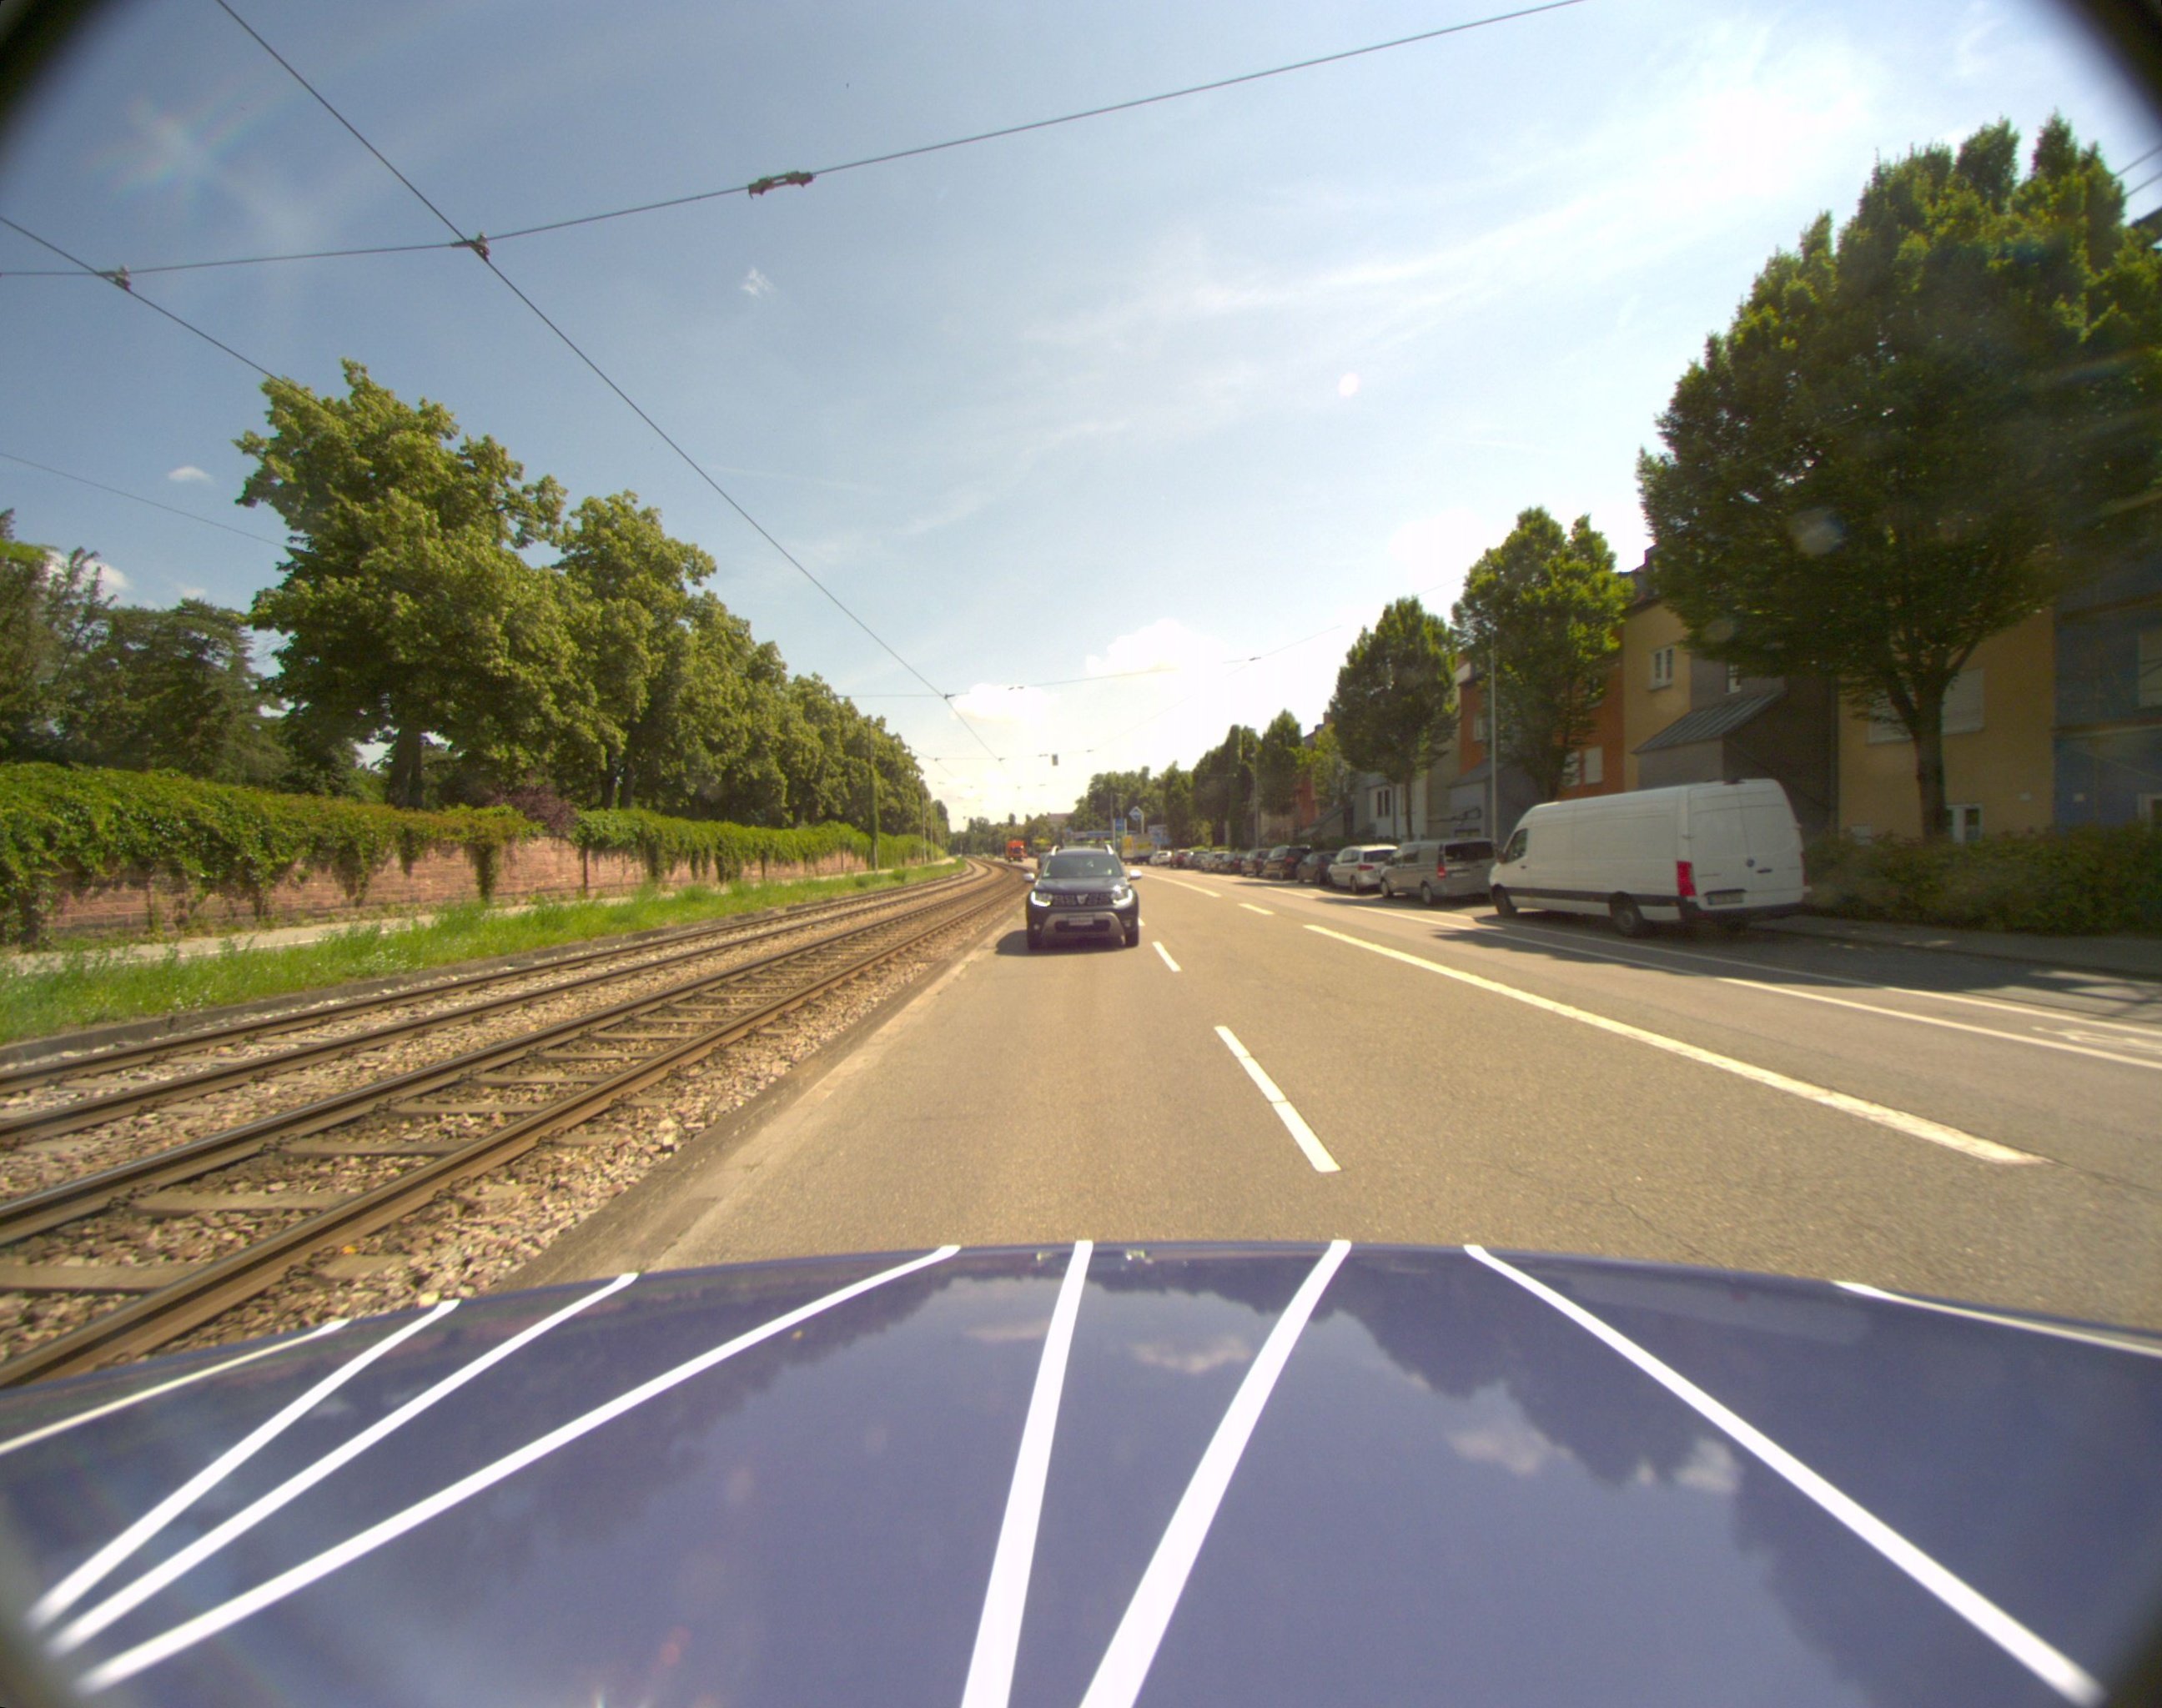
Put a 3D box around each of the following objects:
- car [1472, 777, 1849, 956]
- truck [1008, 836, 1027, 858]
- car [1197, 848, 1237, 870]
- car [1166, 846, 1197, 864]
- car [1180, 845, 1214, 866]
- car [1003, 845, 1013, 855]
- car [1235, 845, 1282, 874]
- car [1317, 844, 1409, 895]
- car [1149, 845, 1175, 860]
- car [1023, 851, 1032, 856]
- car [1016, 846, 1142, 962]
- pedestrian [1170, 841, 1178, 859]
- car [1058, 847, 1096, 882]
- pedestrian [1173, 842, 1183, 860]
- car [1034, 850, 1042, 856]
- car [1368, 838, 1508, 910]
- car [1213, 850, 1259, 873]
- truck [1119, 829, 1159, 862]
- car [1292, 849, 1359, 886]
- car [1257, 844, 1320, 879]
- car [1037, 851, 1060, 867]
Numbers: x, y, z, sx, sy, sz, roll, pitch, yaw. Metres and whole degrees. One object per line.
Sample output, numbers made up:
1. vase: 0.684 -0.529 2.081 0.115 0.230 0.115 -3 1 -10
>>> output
1. car: 10.958 0.177 15.514 2.329 2.636 7.035 -5 0 2
2. truck: -10.789 -1.213 128.965 2.847 3.575 8.699 -2 1 -7
3. car: 10.254 0.334 57.469 1.660 1.500 4.892 -4 1 -5
4. car: 9.041 0.058 68.501 1.661 1.600 4.170 -1 1 -8
5. car: 9.518 0.097 62.677 1.660 1.600 4.685 -3 0 -5
6. car: -15.178 -0.817 157.908 2.000 2.002 3.997 -2 1 -7
7. car: 10.525 0.283 45.247 1.660 1.608 4.283 0 1 -2
8. car: 10.773 0.529 29.413 1.721 1.742 4.903 -2 1 0
9. car: 8.144 -0.146 76.882 1.661 1.402 4.394 -1 0 -8
10. car: -14.464 -0.237 205.373 2.000 1.379 3.997 -1 0 -7
11. car: 0.112 0.733 13.769 1.801 1.652 4.788 -3 0 3
12. pedestrian: 9.813 -0.436 80.133 0.642 1.911 0.710 0 1 36
13. car: -0.247 0.478 38.301 1.802 1.683 4.143 -1 1 -2
14. pedestrian: 10.126 -0.312 79.232 0.685 1.784 0.702 -1 1 -34
15. car: -11.696 -0.259 206.806 2.000 1.379 3.997 -1 0 -7
16. car: 10.902 0.536 23.703 1.811 1.884 5.361 -3 1 1
17. car: 10.386 0.454 51.293 1.746 1.438 4.962 -3 1 -3
18. truck: 6.679 -0.959 88.828 2.840 3.528 8.164 -3 1 -8
19. car: 10.990 0.553 34.454 1.603 1.463 4.085 -1 2 -2
20. car: 10.798 0.344 39.902 1.755 1.706 4.886 -1 0 -2
21. car: -3.168 0.458 73.238 1.999 1.346 3.997 2 1 -5
